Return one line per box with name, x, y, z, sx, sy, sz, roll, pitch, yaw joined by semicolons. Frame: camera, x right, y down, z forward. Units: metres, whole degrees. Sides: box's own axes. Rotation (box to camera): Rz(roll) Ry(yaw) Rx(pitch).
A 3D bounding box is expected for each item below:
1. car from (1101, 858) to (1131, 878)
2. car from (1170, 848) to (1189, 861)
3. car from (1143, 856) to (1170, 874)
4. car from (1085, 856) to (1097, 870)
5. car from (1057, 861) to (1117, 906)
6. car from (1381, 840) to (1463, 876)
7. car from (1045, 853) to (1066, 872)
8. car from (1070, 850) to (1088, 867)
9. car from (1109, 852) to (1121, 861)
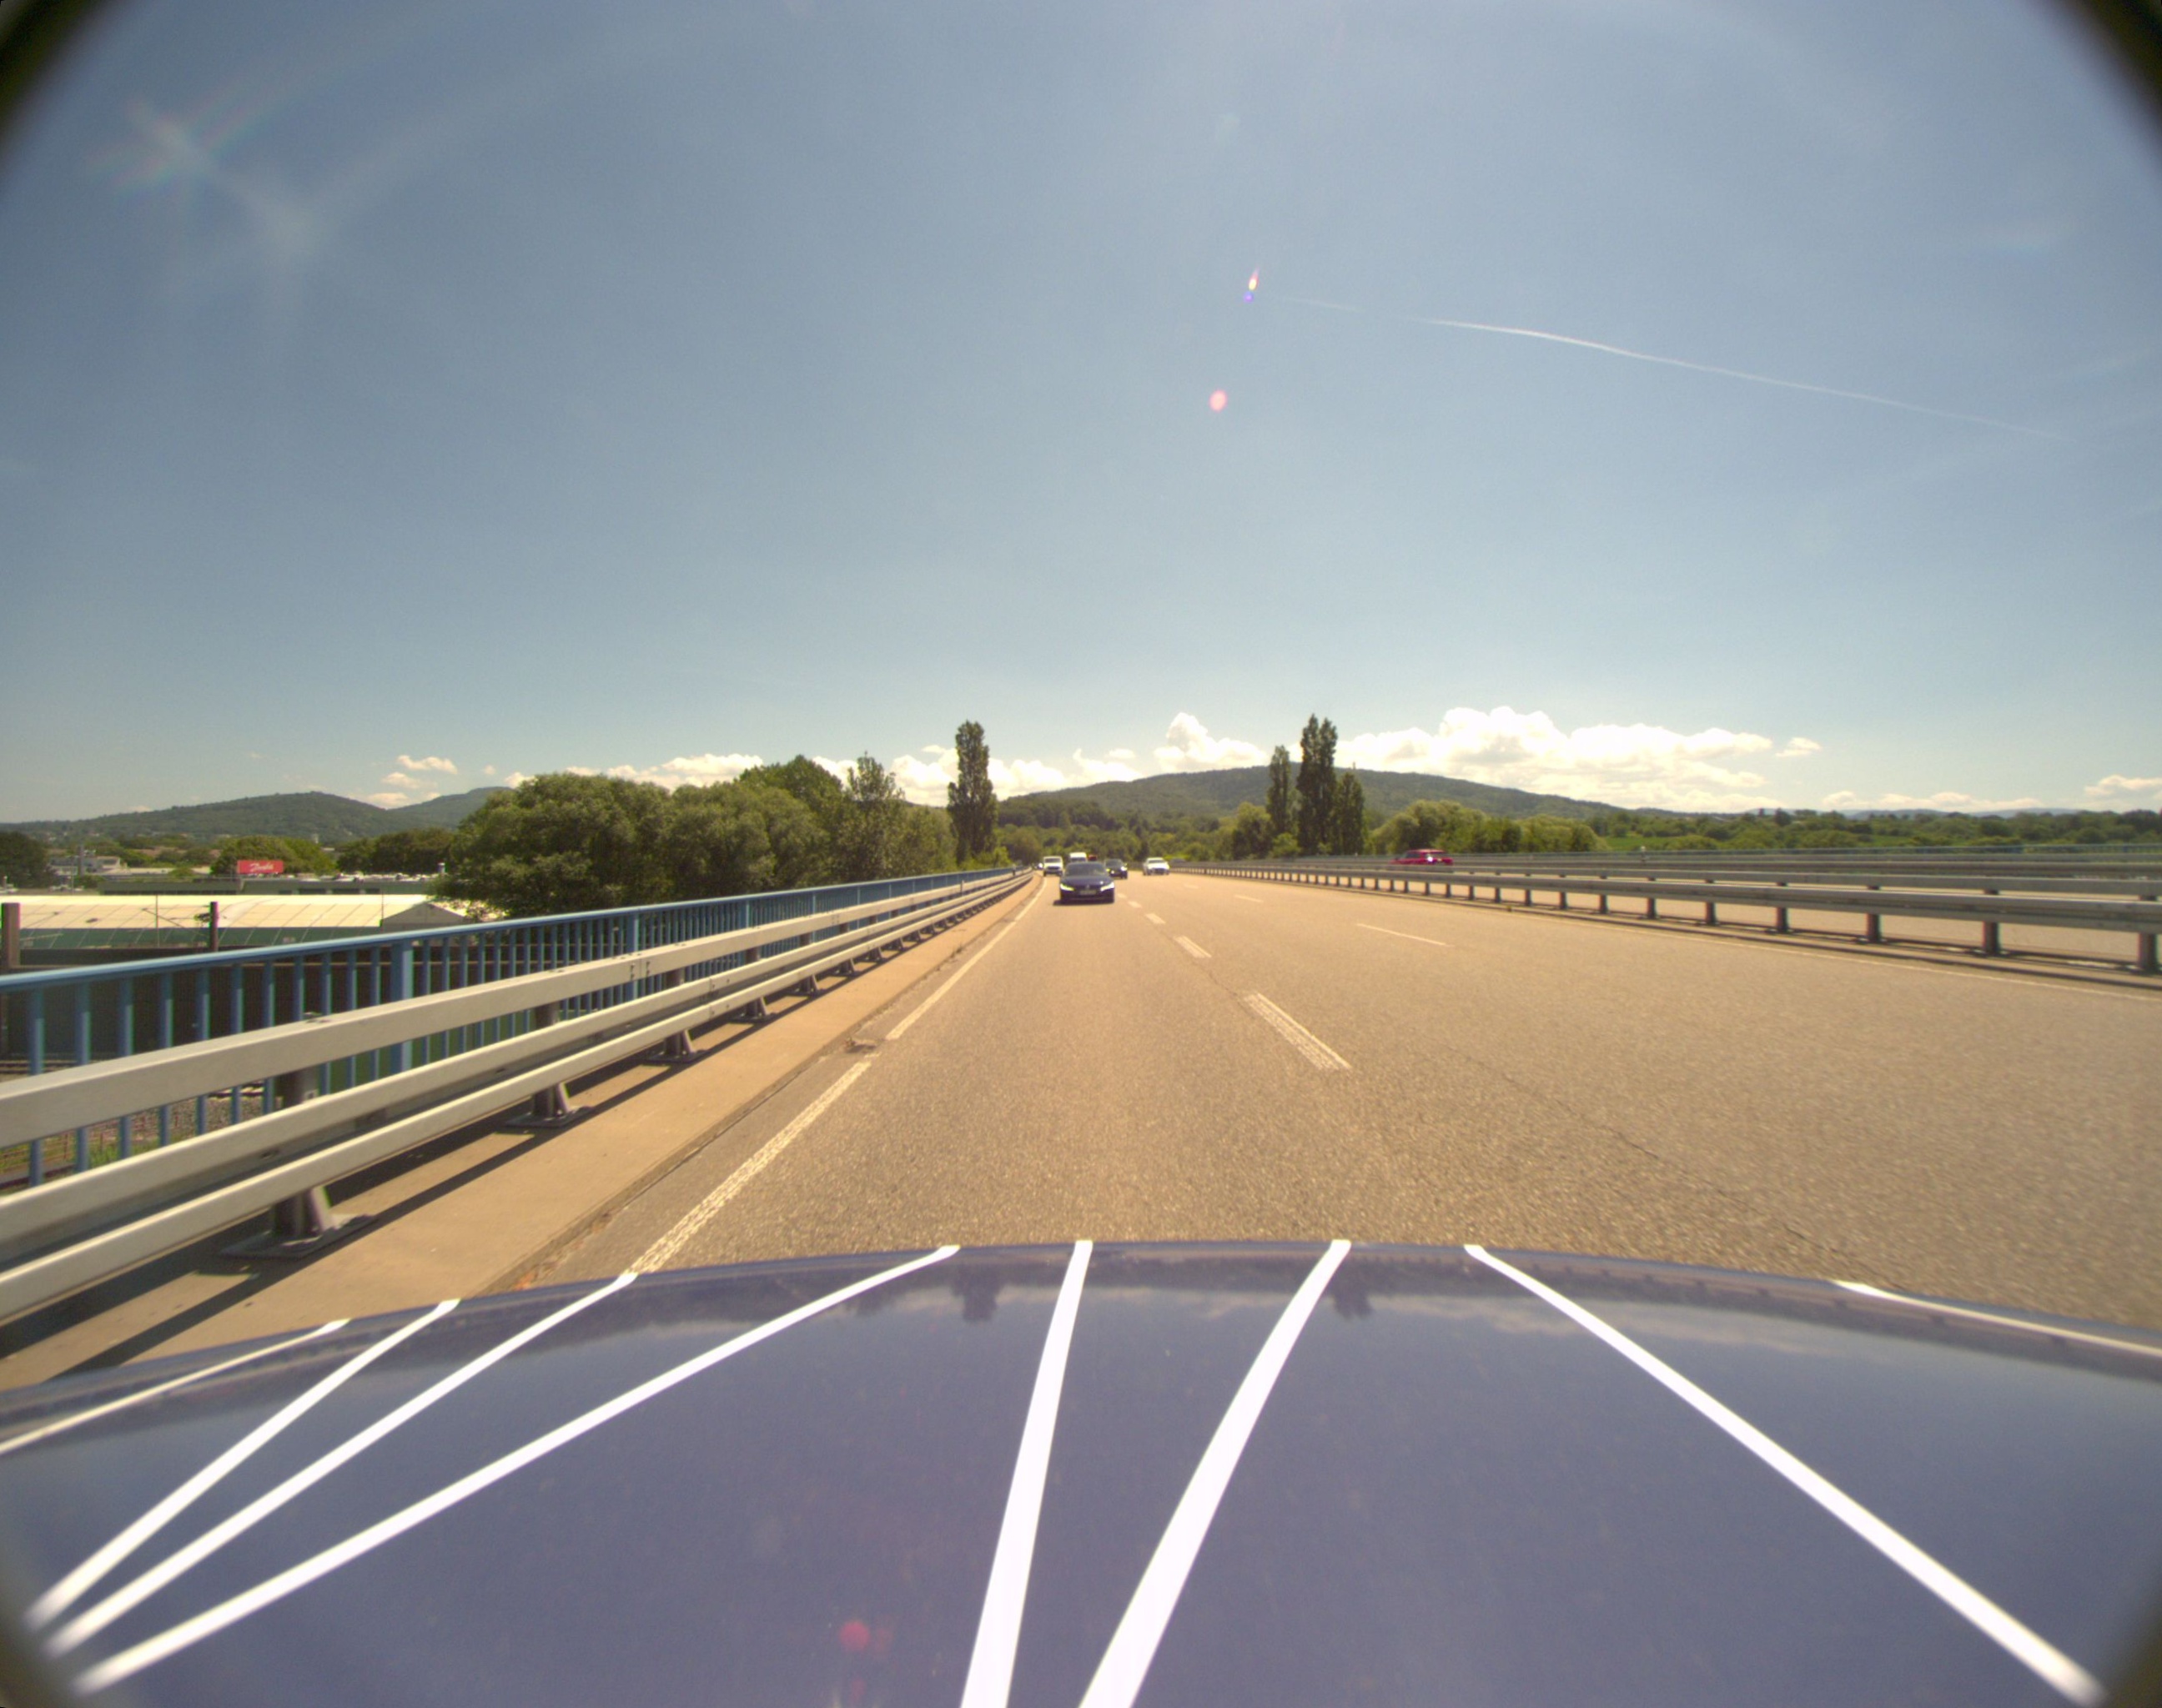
car;2.575;1.014;56.367;1.846;1.399;4.469;-2;0;-2
car;13.907;0.055;107.386;1.848;1.658;5.049;-1;1;-2
car;6.466;0.880;65.319;1.846;1.399;4.469;-2;0;0
car;2.459;2.227;181.864;2.312;3.272;7.026;-1;0;-3
car;0.135;0.974;26.849;1.846;1.399;4.469;-1;-1;-3
car;17.232;0.168;38.723;1.848;1.658;5.050;-1;1;-1
car;-2.589;0.799;75.678;1.885;1.724;4.468;-2;1;-4
car;-0.262;0.498;91.375;2.009;1.987;4.577;-2;1;-3
car;7.211;0.533;161.102;1.858;1.808;4.792;-1;1;-6
